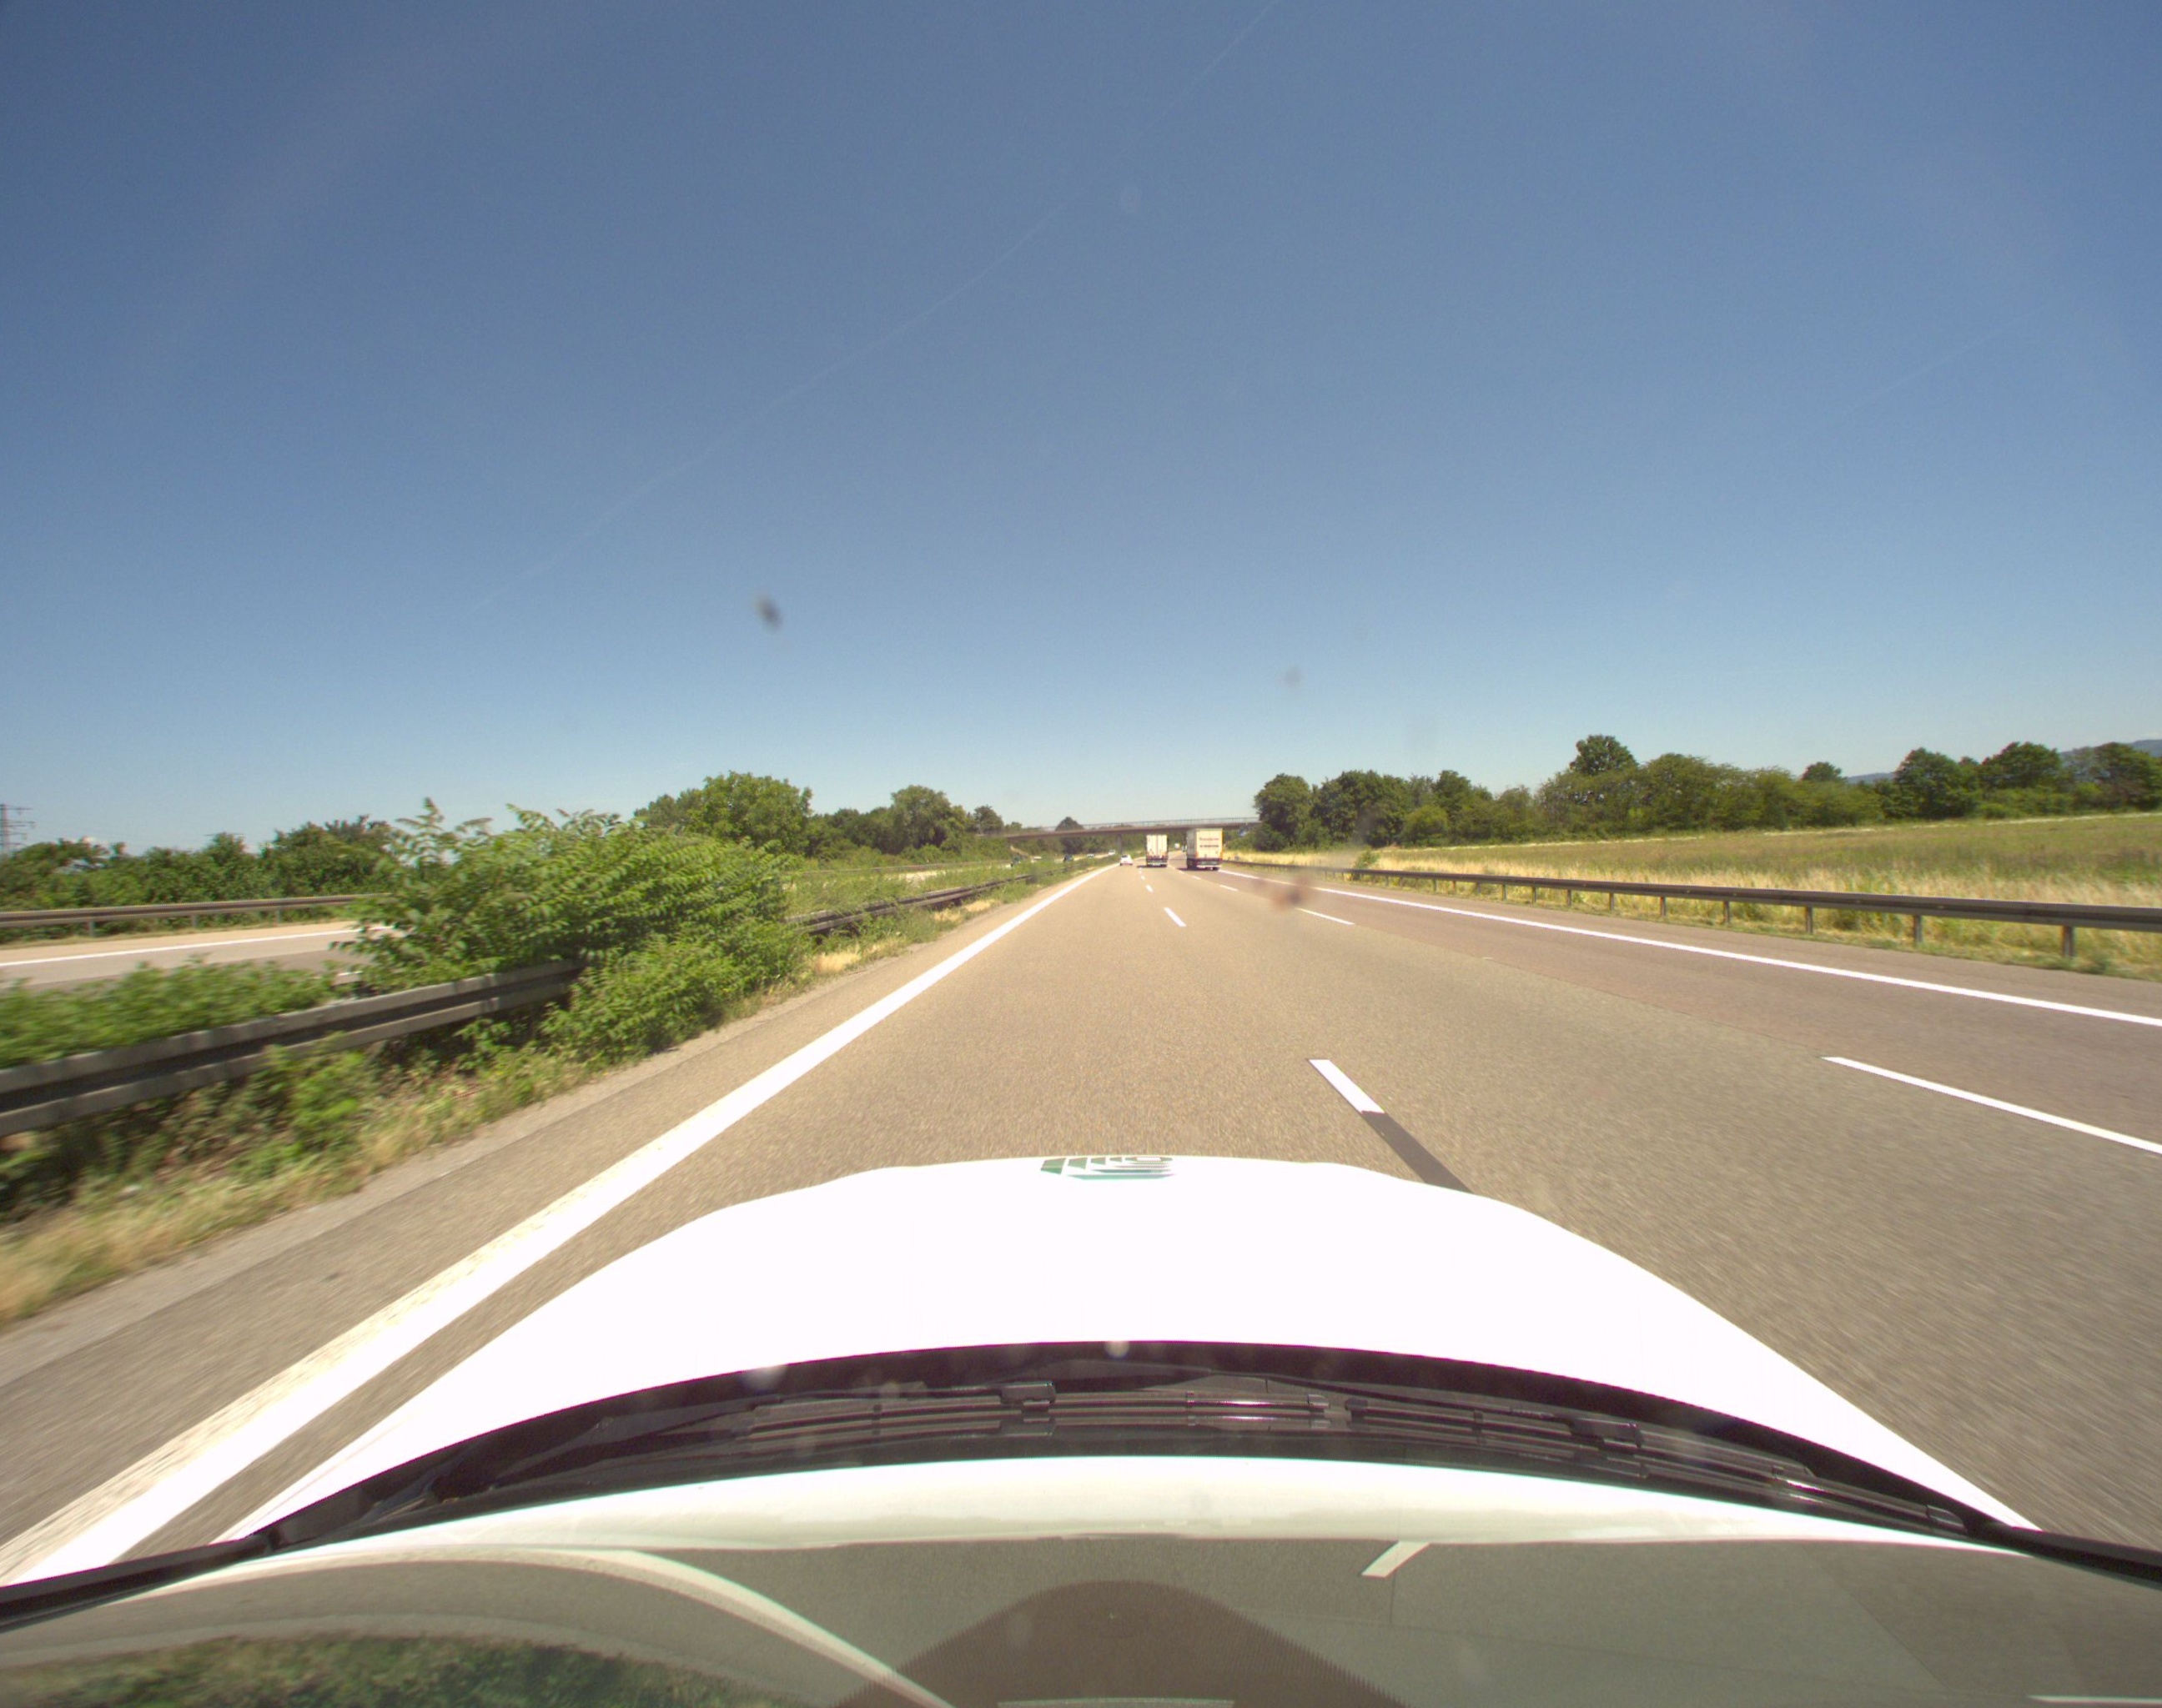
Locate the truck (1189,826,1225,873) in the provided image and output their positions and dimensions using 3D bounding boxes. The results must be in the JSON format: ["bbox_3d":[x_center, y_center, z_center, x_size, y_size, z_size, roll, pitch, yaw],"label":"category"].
[{"bbox_3d":[12.959,-0.511,84.803,3.164,4.304,16.051,-1,1,7],"label":"truck"}]

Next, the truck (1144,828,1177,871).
[{"bbox_3d":[9.945,-0.653,103.624,3.650,5.018,16.035,-1,1,4],"label":"truck"}]

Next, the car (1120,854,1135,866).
[{"bbox_3d":[6.552,0.840,114.584,1.817,1.547,4.329,0,0,8],"label":"car"}]

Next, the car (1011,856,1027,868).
[{"bbox_3d":[-9.303,1.216,121.704,1.775,1.661,4.661,-2,0,3],"label":"car"}]

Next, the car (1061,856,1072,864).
[{"bbox_3d":[-2.823,1.197,156.394,1.637,1.561,4.071,-1,-1,4],"label":"car"}]
